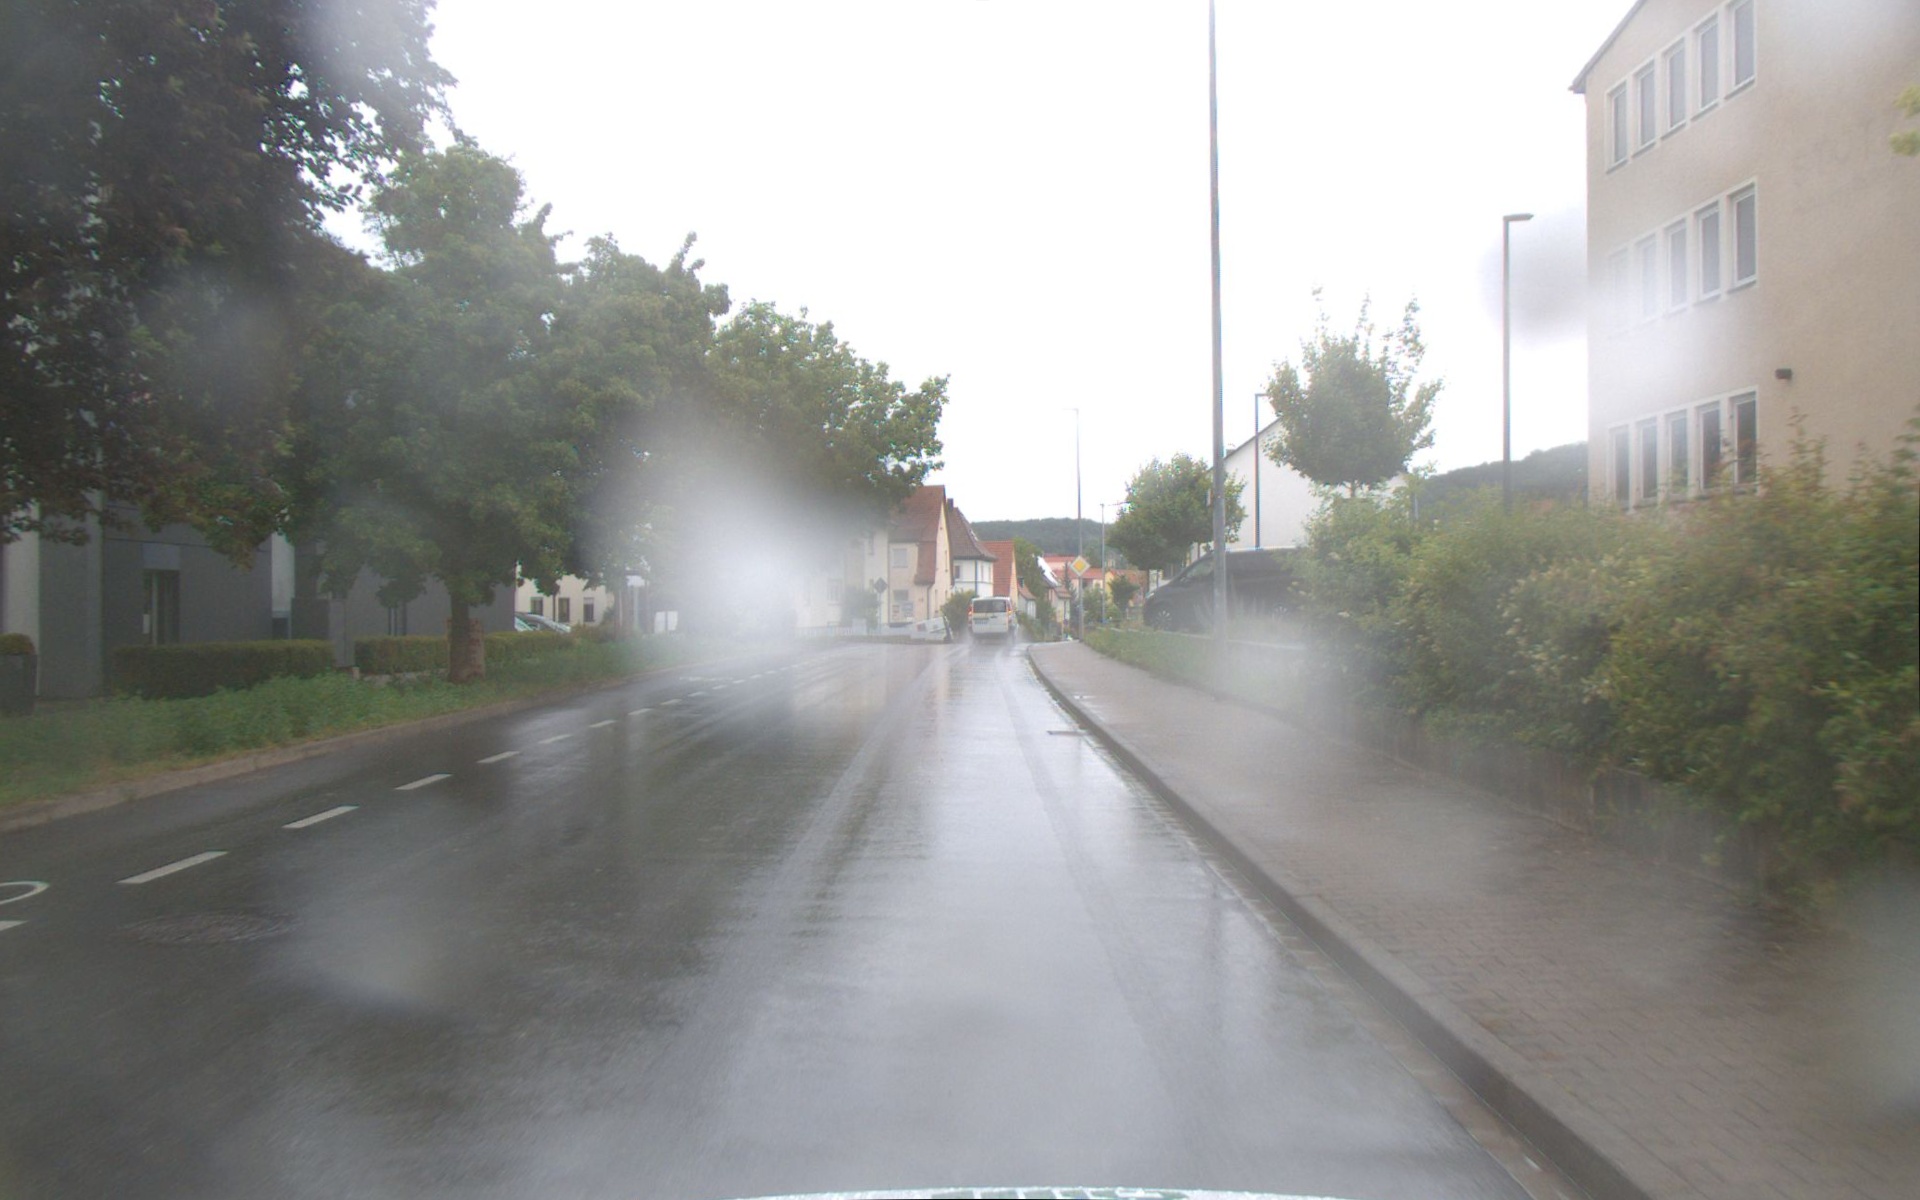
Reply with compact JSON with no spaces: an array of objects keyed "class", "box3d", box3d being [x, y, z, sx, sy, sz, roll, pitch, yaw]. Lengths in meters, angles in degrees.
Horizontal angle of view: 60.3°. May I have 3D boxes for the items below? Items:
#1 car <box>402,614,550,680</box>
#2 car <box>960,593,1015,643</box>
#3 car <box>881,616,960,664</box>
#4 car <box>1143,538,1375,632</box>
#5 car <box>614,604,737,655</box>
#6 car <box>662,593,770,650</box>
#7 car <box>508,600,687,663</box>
[{"class":"car","box3d":[-16.008,1.539,54.897,4.308,2.049,2.153,1,1,-3]},{"class":"car","box3d":[1.150,0.695,68.037,2.073,1.921,4.504,1,1,3]},{"class":"car","box3d":[-2.516,2.554,105.222,4.466,2.044,2.161,-13,-1,7]},{"class":"car","box3d":[7.072,-0.315,39.355,5.016,1.953,2.045,-3,-2,38]},{"class":"car","box3d":[-7.220,0.747,42.129,2.848,1.179,1.471,-2,-1,0]},{"class":"car","box3d":[-6.910,0.621,46.940,2.848,1.480,1.253,-2,-3,0]},{"class":"car","box3d":[-8.457,0.729,38.774,3.820,1.306,1.582,-2,-1,0]}]
